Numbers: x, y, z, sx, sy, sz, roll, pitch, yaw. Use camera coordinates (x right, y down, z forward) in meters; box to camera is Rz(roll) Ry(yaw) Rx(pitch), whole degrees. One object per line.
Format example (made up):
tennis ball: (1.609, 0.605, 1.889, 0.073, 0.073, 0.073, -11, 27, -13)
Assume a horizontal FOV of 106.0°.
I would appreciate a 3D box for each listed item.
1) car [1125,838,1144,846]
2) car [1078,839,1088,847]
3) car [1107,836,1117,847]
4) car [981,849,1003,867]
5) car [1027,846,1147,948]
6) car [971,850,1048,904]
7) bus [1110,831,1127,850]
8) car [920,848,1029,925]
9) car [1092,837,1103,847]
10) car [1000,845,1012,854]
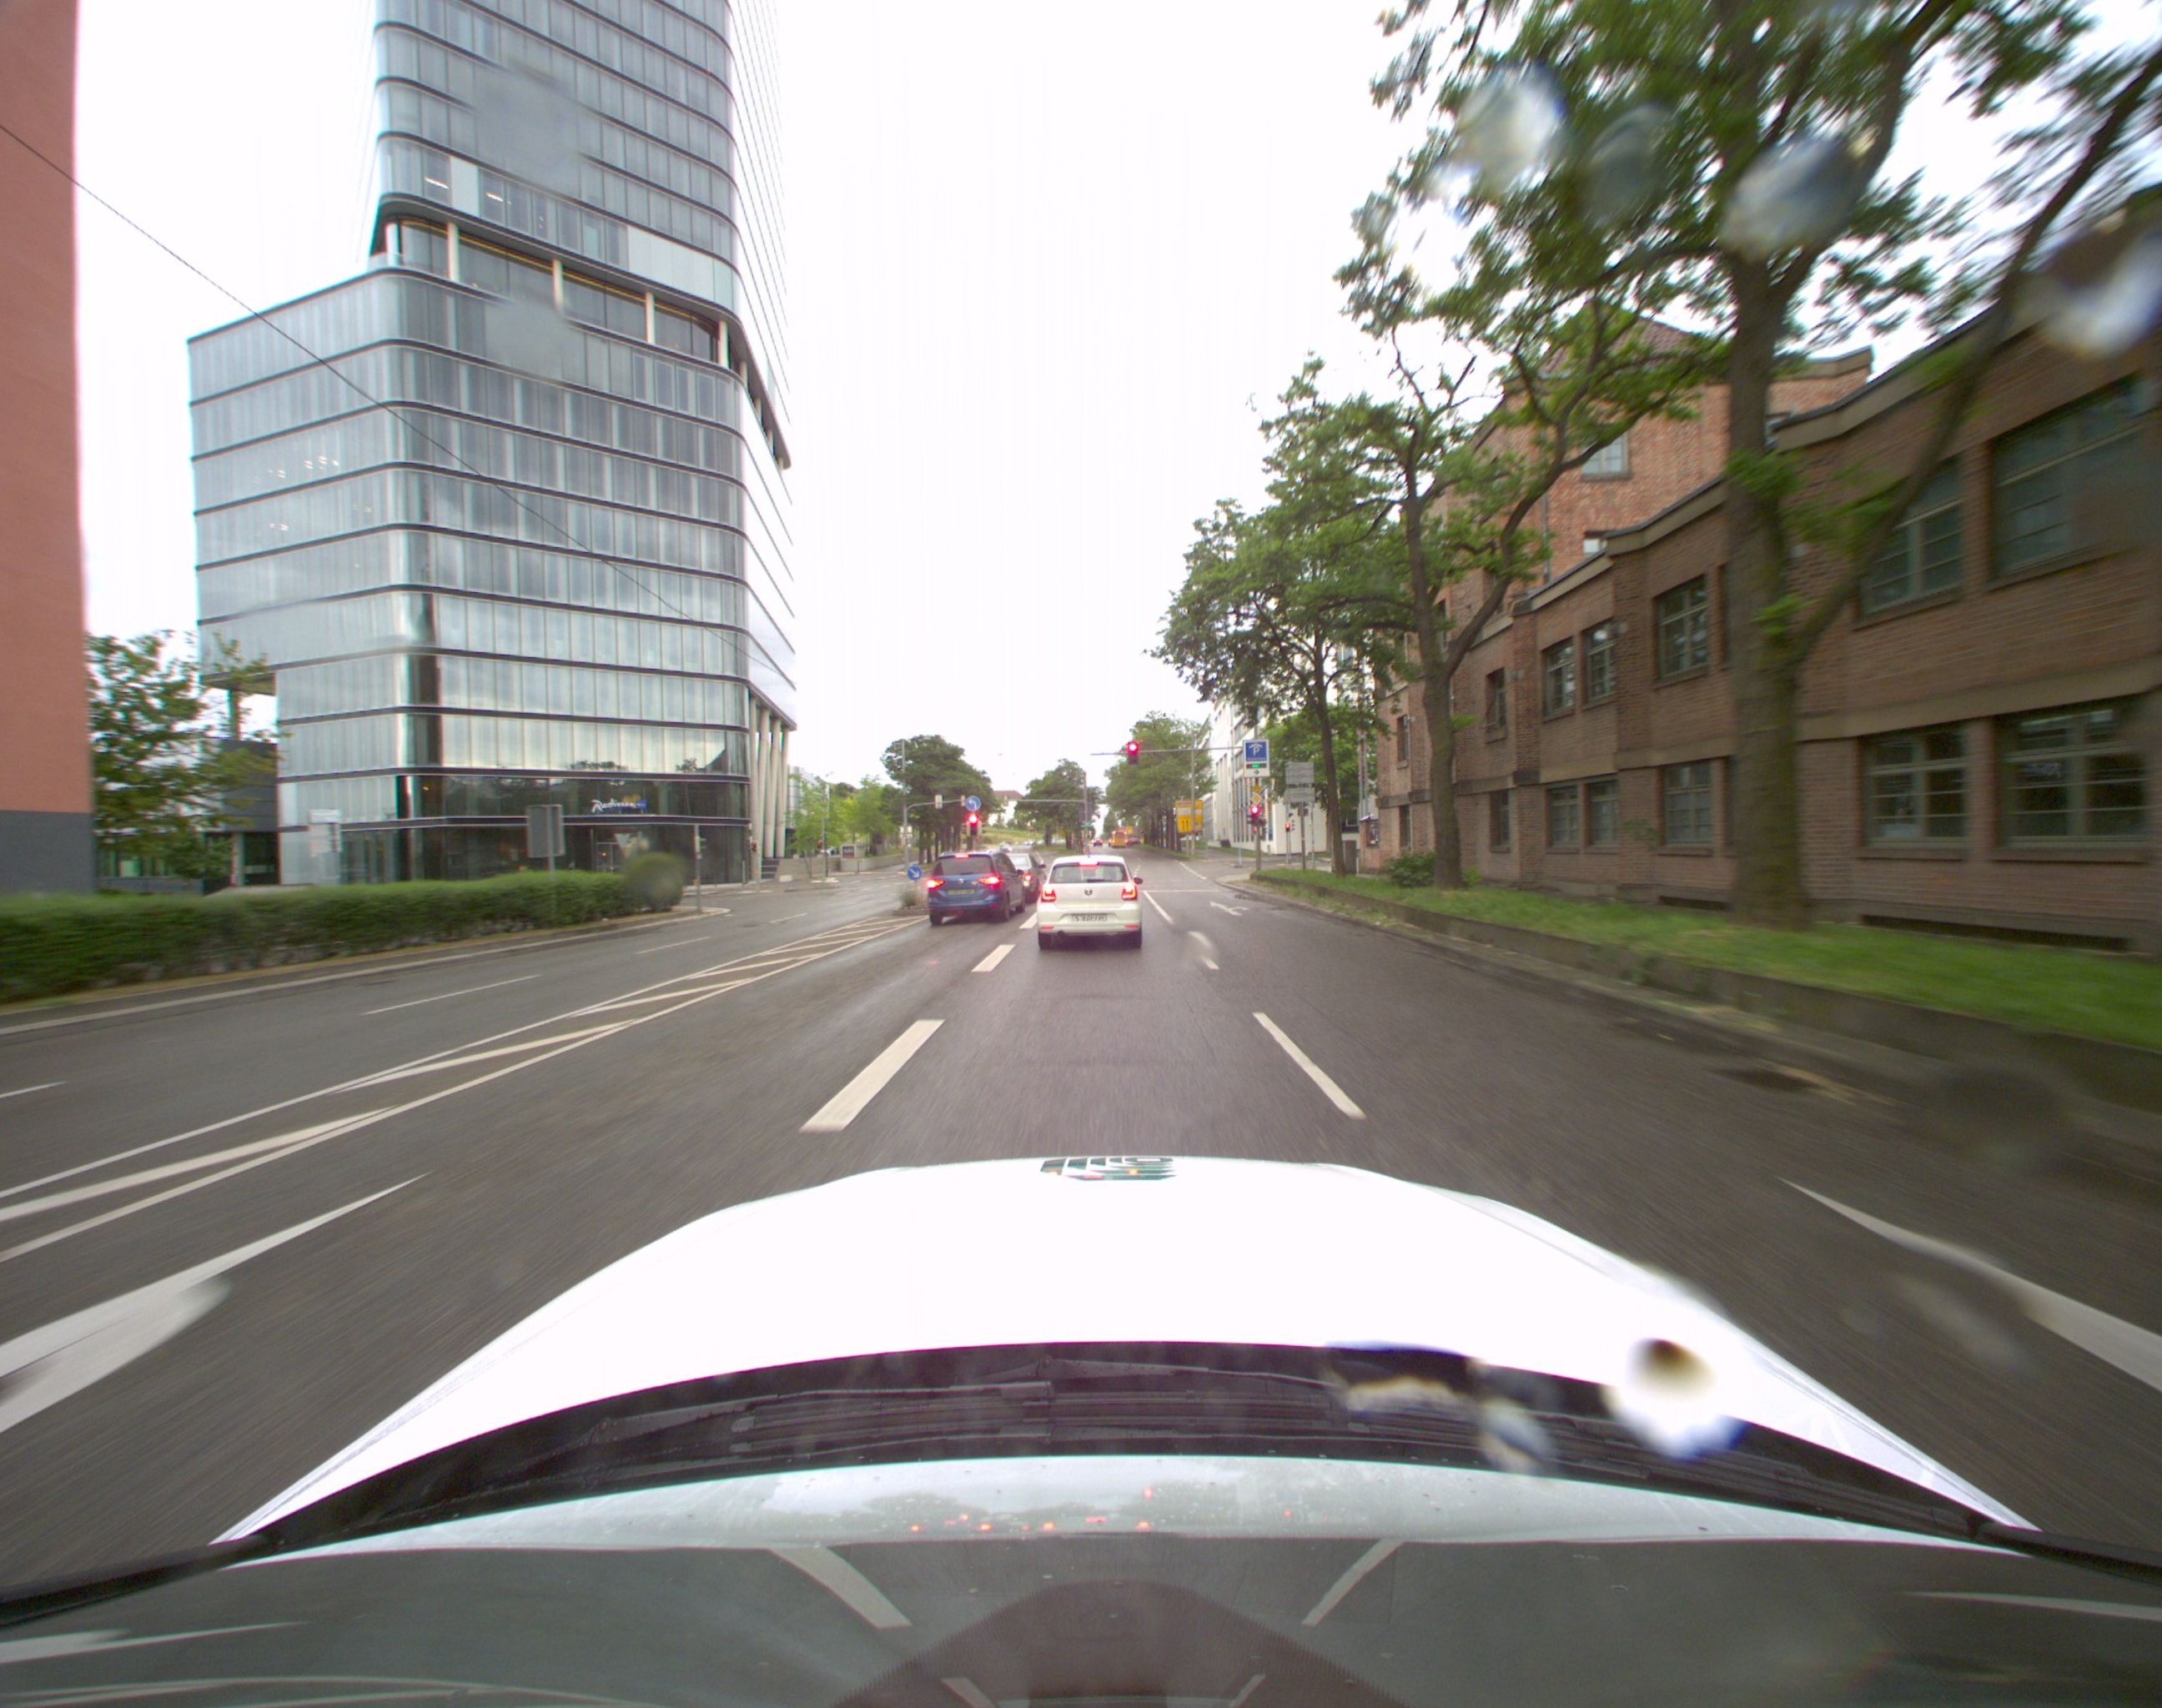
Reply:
car: (10.973, -2.435, 166.437, 3.850, 1.515, 1.679, -2, 0, -45)
car: (0.400, -2.271, 168.660, 1.789, 1.741, 3.999, -3, 1, -1)
car: (6.359, -2.537, 167.353, 1.987, 2.013, 4.000, -2, 0, 0)
car: (-8.329, 0.380, 76.727, 1.746, 1.520, 3.814, -3, 1, -3)
car: (0.145, 0.641, 14.271, 1.788, 1.502, 4.001, -1, 0, 1)
car: (-2.180, 0.660, 26.041, 1.839, 1.510, 4.051, -3, 0, 3)
bus: (7.001, -2.588, 153.589, 2.819, 3.266, 10.001, -1, 1, 0)
car: (-2.431, 0.687, 19.697, 1.764, 1.596, 4.201, -2, 0, 4)
car: (3.396, -2.467, 166.943, 1.987, 2.013, 4.000, -2, 0, 0)
car: (-13.291, -0.861, 144.955, 1.810, 1.411, 4.652, -3, 1, -2)
